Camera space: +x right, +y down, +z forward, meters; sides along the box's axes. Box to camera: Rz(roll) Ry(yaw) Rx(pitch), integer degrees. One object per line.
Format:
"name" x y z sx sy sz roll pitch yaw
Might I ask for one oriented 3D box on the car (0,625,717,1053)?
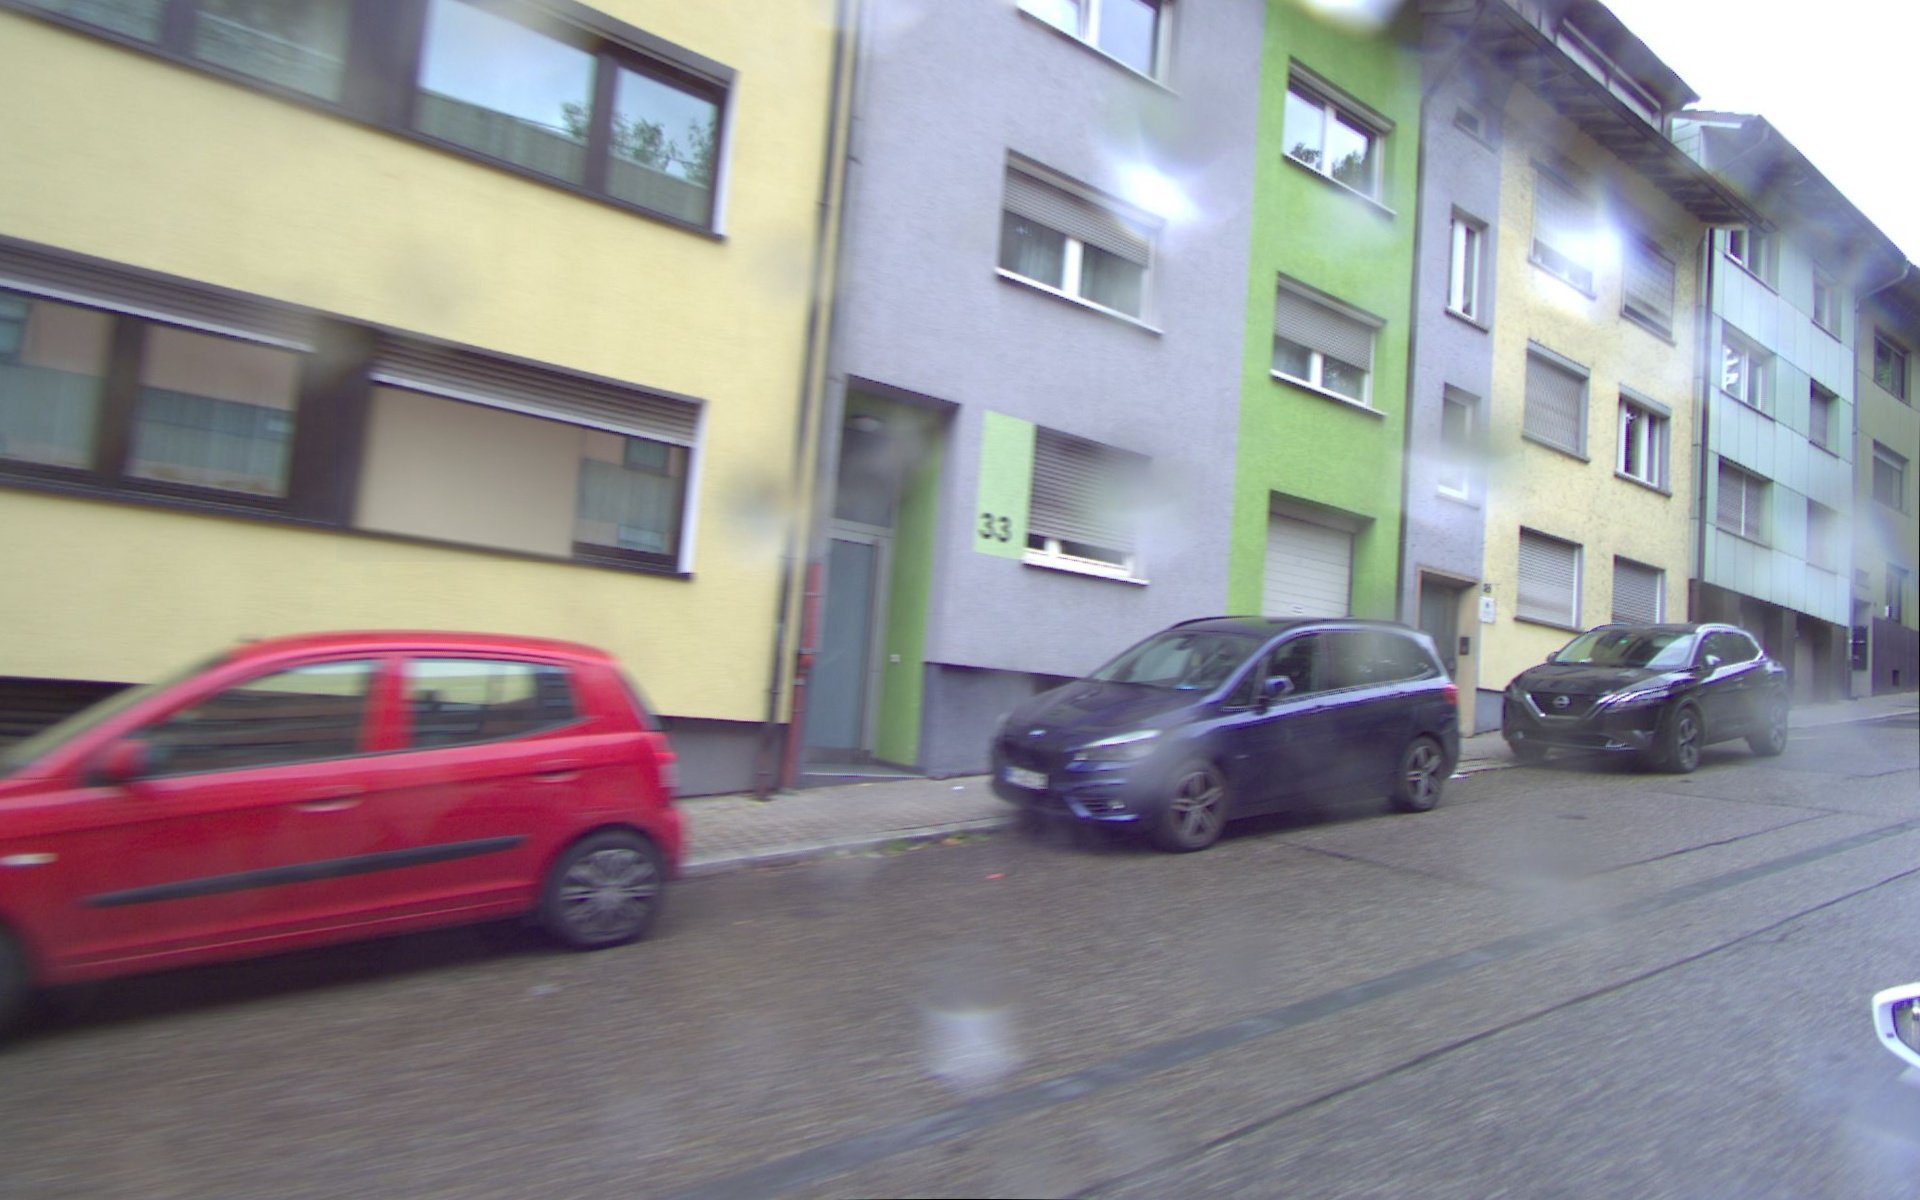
"car" -3.113 0.887 4.766 3.455 1.491 1.718 1 -3 -34

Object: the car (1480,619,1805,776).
"car" 8.422 1.059 12.299 4.261 1.606 1.842 1 -3 -34

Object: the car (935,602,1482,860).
"car" 2.178 0.879 8.351 4.425 1.606 1.982 1 -3 -34

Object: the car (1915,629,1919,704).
"car" 22.892 1.420 21.999 4.261 1.606 1.978 1 -3 -34
